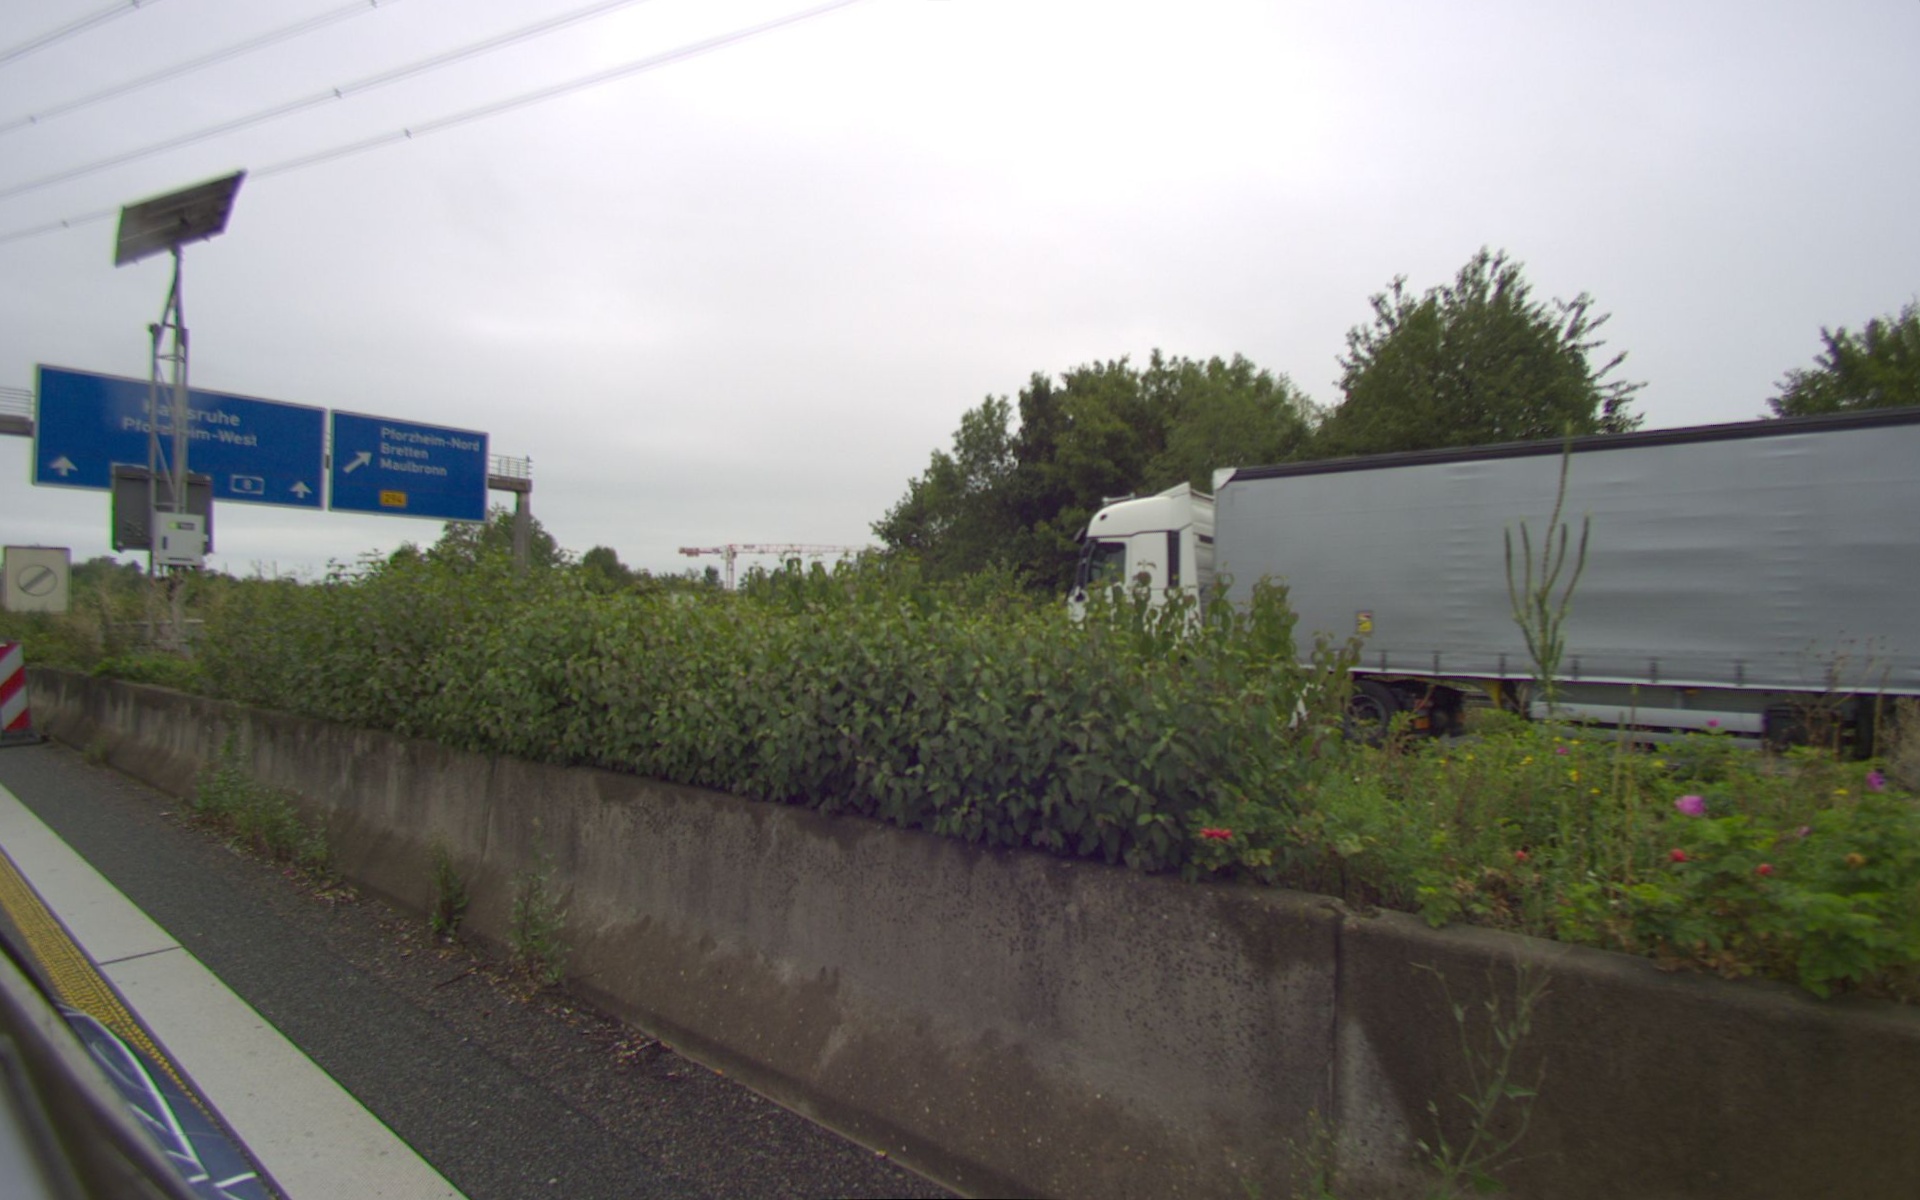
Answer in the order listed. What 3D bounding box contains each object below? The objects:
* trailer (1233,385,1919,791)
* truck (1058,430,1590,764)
[{"bbox_3d":[9.930,-0.045,11.582,13.242,4.055,2.757,-1,-4,41],"label":"trailer"},{"bbox_3d":[5.298,0.082,15.665,7.228,4.055,2.757,-1,-4,41],"label":"truck"}]
